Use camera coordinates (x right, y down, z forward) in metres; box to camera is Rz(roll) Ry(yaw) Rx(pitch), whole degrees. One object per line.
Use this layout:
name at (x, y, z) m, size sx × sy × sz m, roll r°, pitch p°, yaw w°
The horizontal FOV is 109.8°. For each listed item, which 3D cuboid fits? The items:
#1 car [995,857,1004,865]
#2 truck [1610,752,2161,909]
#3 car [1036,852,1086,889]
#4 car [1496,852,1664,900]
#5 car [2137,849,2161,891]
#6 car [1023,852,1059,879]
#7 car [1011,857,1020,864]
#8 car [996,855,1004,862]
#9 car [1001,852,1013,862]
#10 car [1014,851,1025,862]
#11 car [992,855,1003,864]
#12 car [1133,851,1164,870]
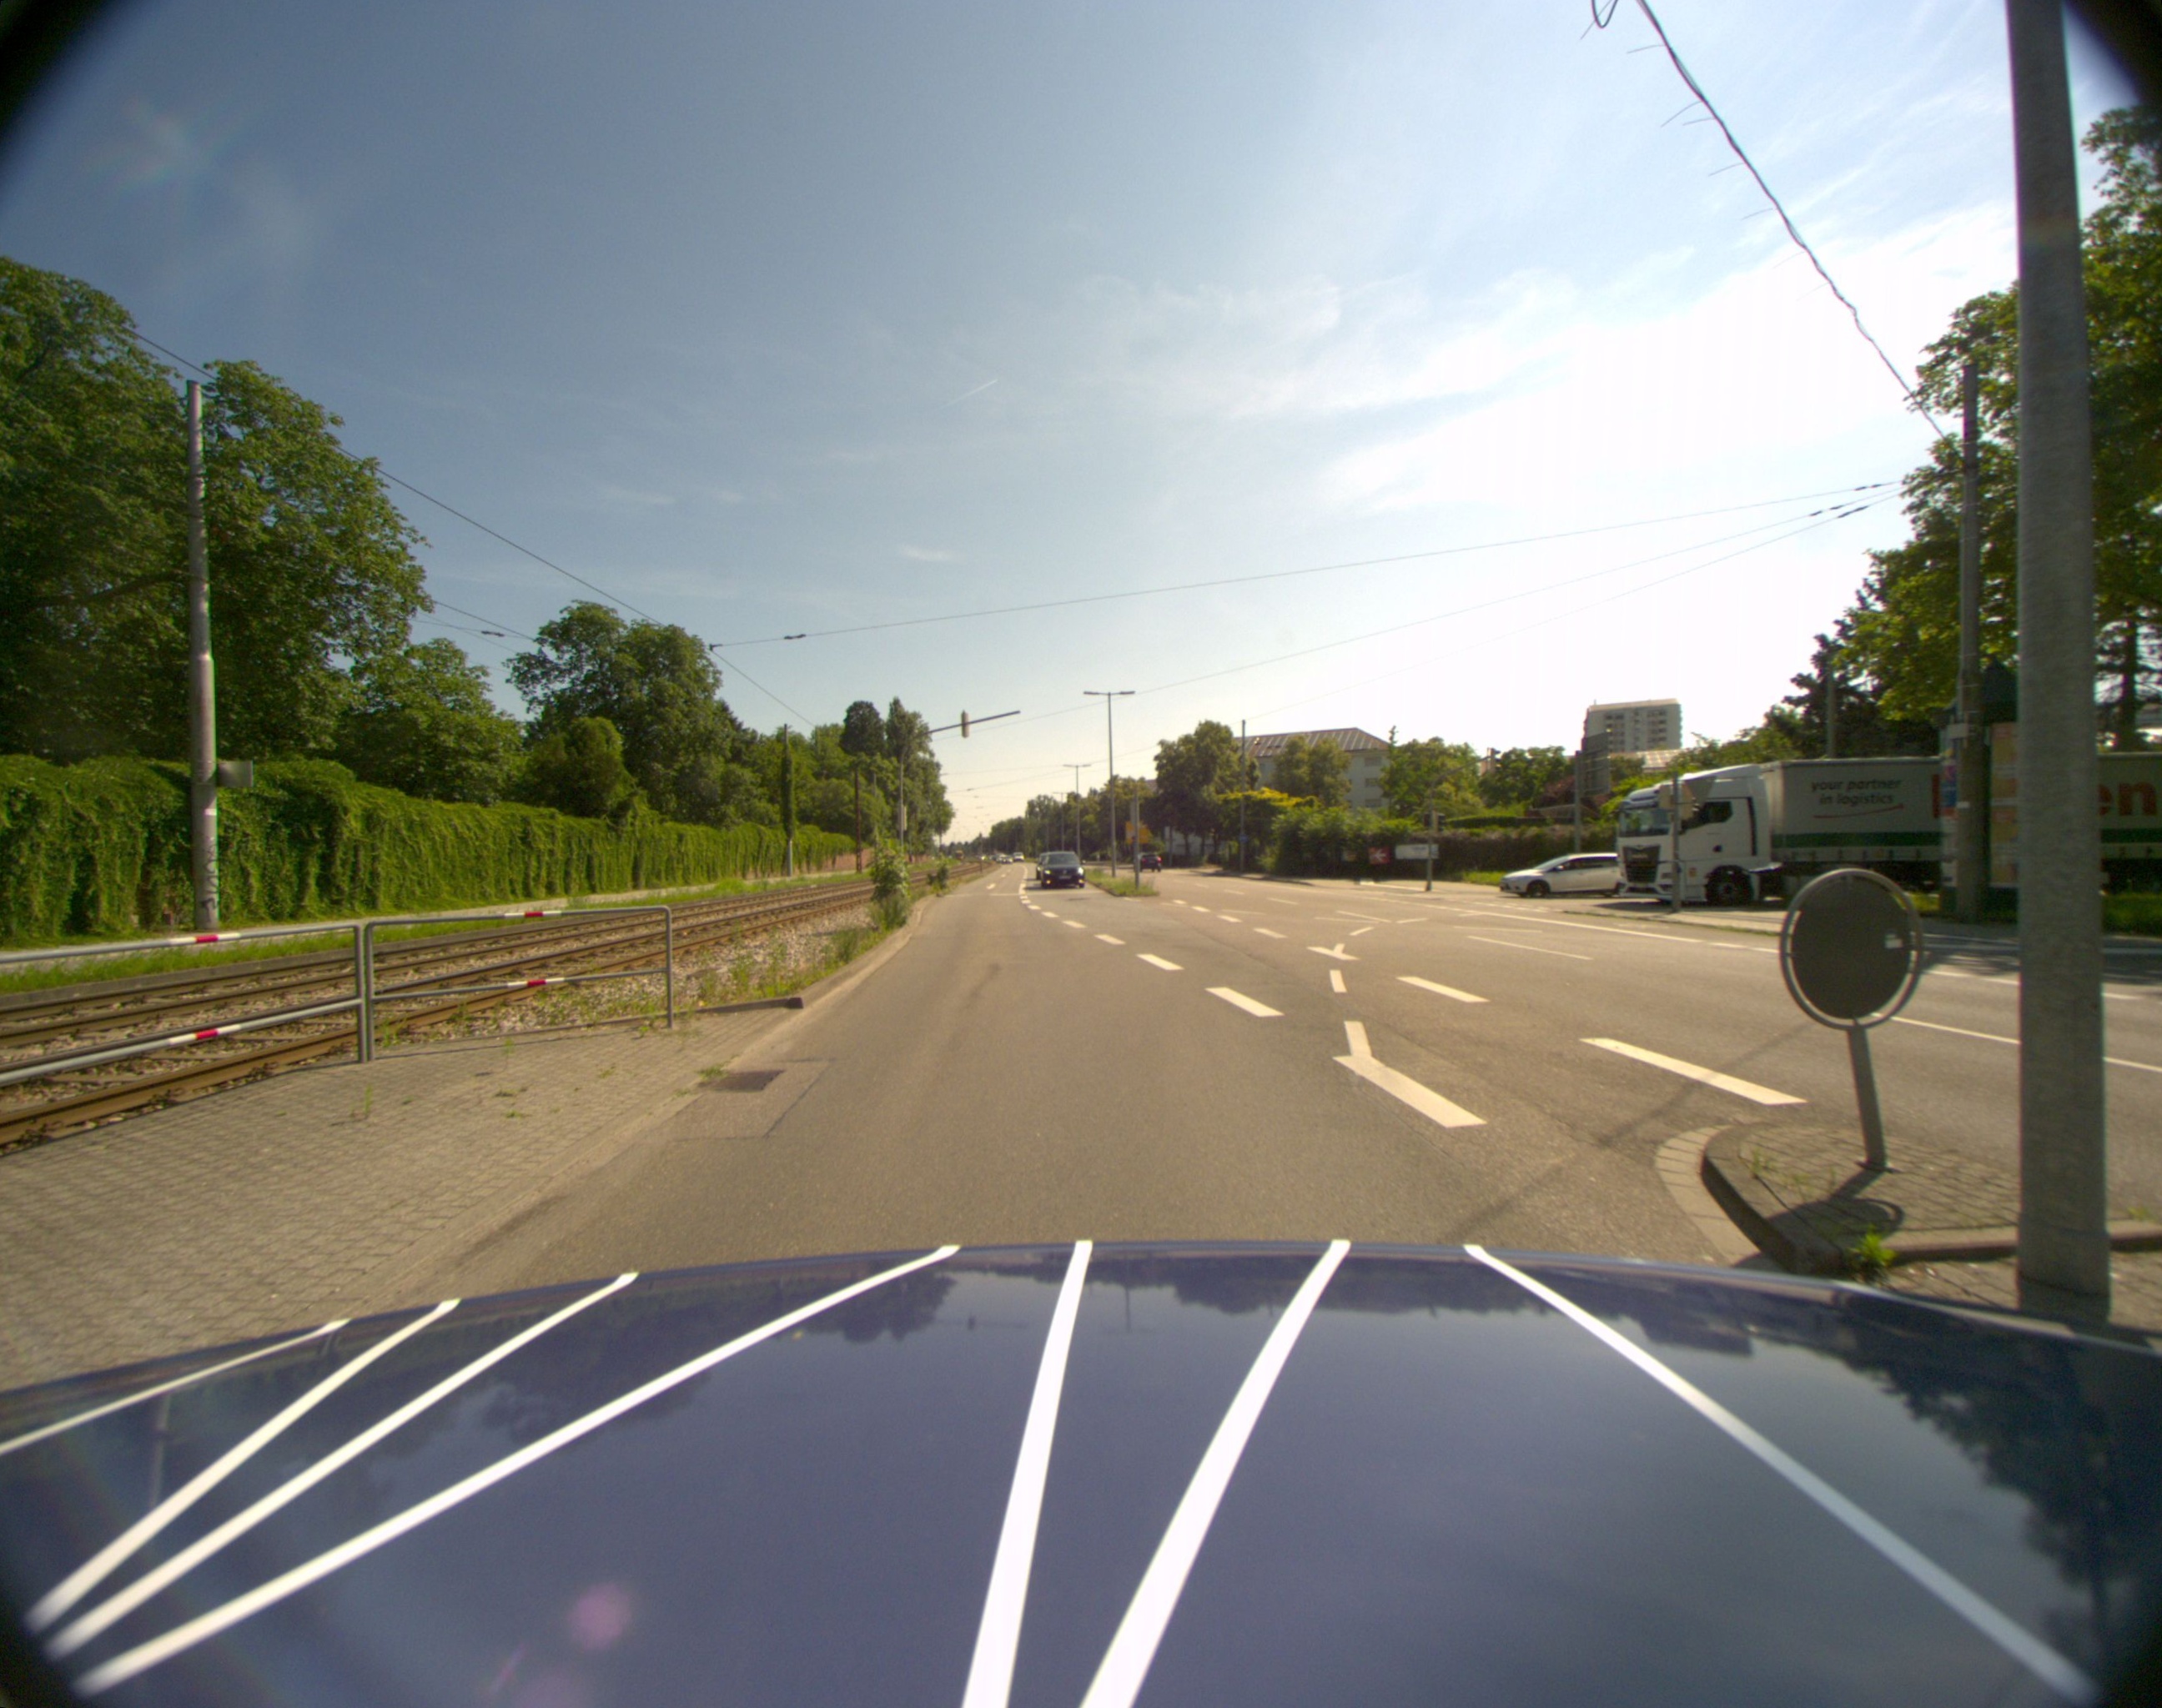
car at (-17.266, 1.389, 160.724) m, size 1.931 × 1.593 × 4.465 m, roll -2°, pitch 0°, yaw -6°
truck at (23.067, -0.596, 21.181) m, size 14.289 × 3.984 × 2.855 m, roll 0°, pitch 1°, yaw 3°
car at (-0.980, 0.701, 34.541) m, size 1.756 × 1.573 × 4.502 m, roll -1°, pitch 0°, yaw -8°
car at (16.697, 0.749, 25.642) m, size 4.390 × 1.501 × 1.758 m, roll -1°, pitch -1°, yaw 13°
car at (36.718, 0.459, 23.815) m, size 4.366 × 1.360 × 1.757 m, roll -1°, pitch -1°, yaw 5°
car at (-2.454, 0.652, 45.805) m, size 1.756 × 1.573 × 4.502 m, roll -1°, pitch 0°, yaw -8°
car at (-15.483, 1.471, 179.968) m, size 1.931 × 1.593 × 4.465 m, roll -2°, pitch 0°, yaw -6°
car at (-20.616, 1.106, 192.361) m, size 1.931 × 1.593 × 4.465 m, roll -2°, pitch 0°, yaw -6°
car at (-12.743, 0.542, 130.437) m, size 1.932 × 1.593 × 4.465 m, roll -2°, pitch 0°, yaw -7°
car at (-13.080, 0.530, 161.101) m, size 2.265 × 2.336 × 5.227 m, roll -2°, pitch 1°, yaw -5°
car at (-16.179, 1.093, 147.077) m, size 1.931 × 1.593 × 4.465 m, roll -2°, pitch 0°, yaw -6°
car at (5.561, 0.514, 63.300) m, size 1.756 × 1.573 × 4.503 m, roll 1°, pitch 0°, yaw -6°
